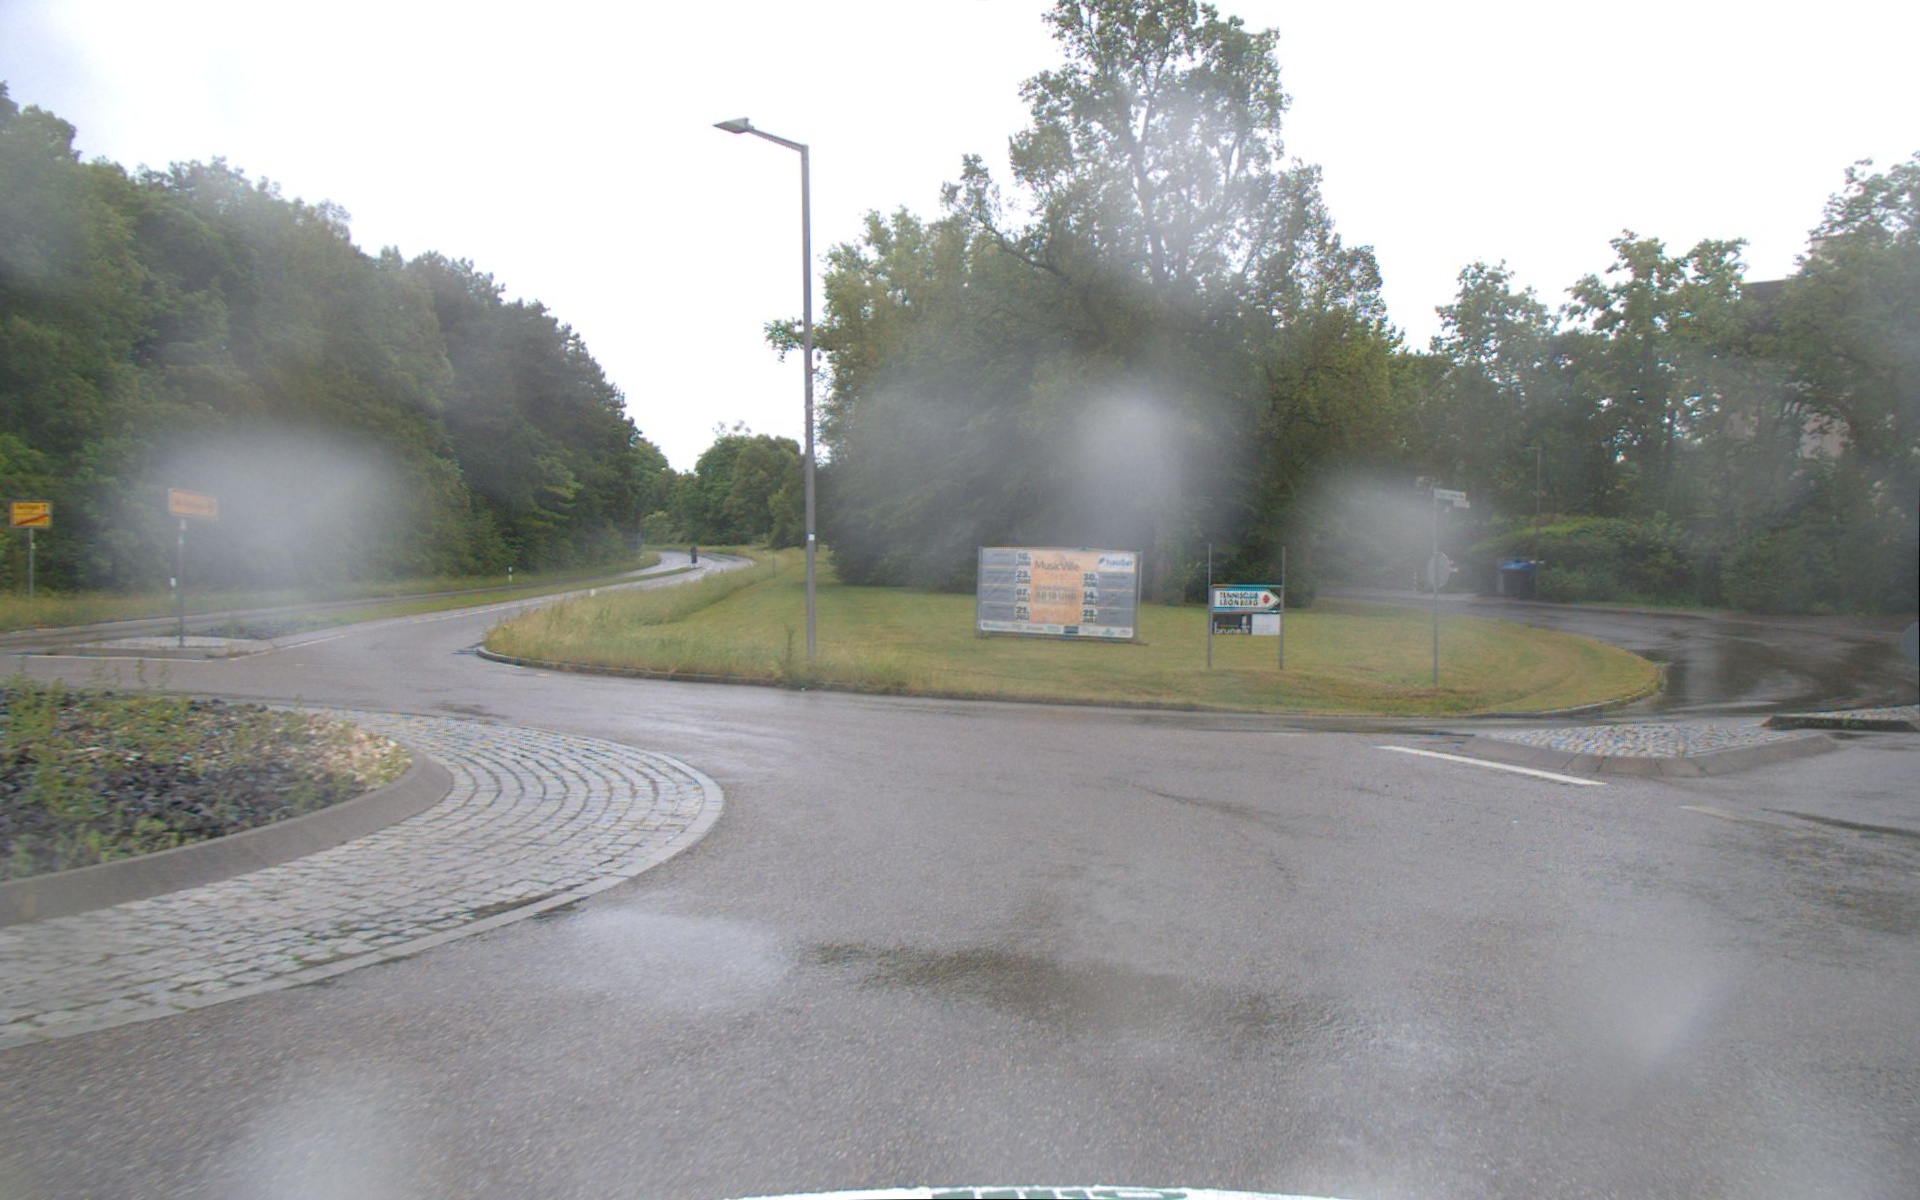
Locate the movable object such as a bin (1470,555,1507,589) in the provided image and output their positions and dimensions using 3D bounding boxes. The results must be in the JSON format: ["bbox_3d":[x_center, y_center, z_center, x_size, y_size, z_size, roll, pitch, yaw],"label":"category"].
[{"bbox_3d":[22.916,-1.214,71.746,1.169,1.462,1.429,1,1,2],"label":"movable object such as a bin"}]
